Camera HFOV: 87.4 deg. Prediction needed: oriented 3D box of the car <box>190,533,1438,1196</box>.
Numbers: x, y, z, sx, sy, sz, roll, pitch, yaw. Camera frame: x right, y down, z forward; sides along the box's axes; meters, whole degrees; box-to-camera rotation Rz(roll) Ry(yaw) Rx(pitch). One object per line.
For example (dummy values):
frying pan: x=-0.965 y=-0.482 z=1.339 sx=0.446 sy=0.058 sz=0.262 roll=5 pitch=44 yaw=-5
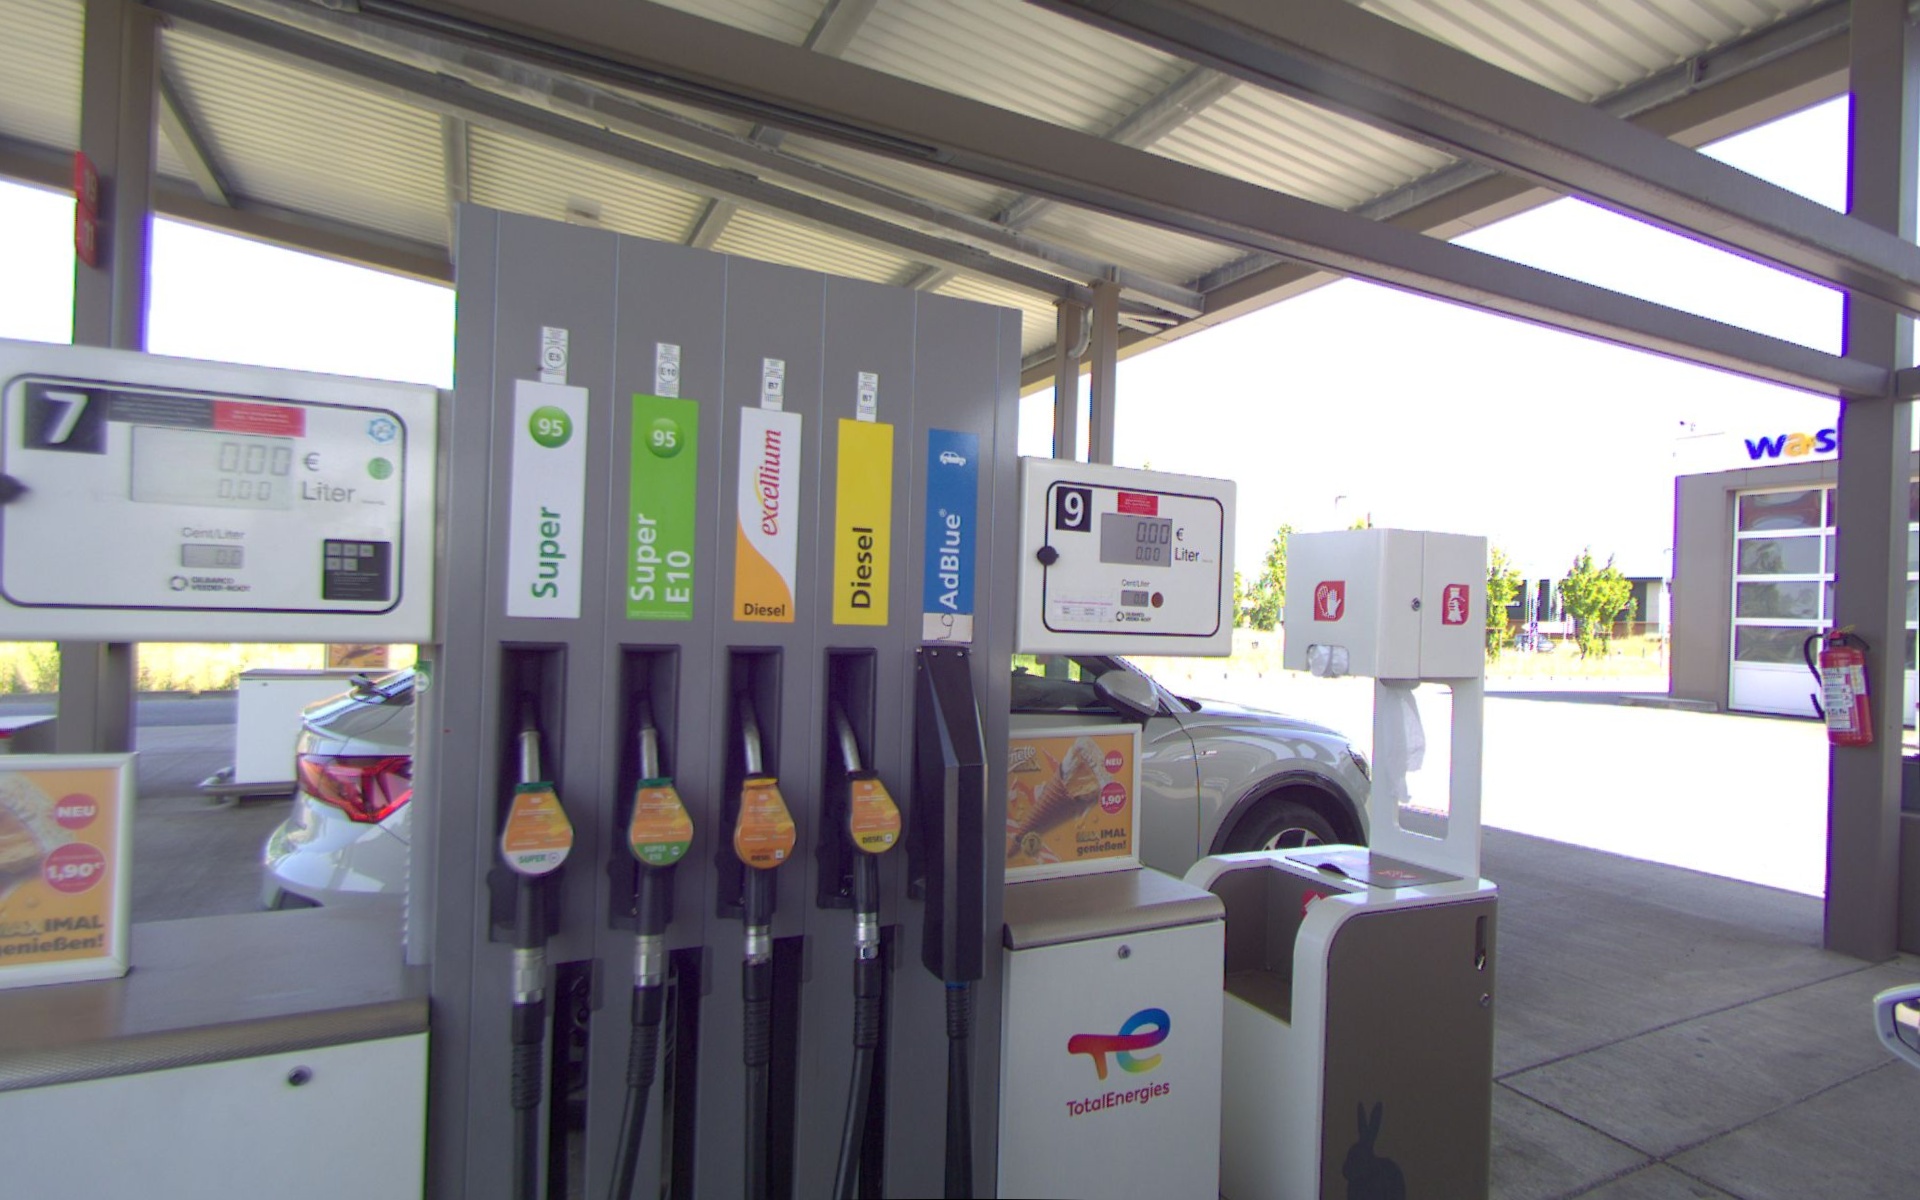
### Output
car: x=-0.268 y=0.677 z=4.125 sx=4.269 sy=1.562 sz=1.774 roll=2 pitch=-1 yaw=-26

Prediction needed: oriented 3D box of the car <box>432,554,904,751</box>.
car: x=-3.009 y=0.505 z=10.639 sx=4.483 sy=1.710 sz=1.850 roll=1 pitch=-1 yaw=-31
